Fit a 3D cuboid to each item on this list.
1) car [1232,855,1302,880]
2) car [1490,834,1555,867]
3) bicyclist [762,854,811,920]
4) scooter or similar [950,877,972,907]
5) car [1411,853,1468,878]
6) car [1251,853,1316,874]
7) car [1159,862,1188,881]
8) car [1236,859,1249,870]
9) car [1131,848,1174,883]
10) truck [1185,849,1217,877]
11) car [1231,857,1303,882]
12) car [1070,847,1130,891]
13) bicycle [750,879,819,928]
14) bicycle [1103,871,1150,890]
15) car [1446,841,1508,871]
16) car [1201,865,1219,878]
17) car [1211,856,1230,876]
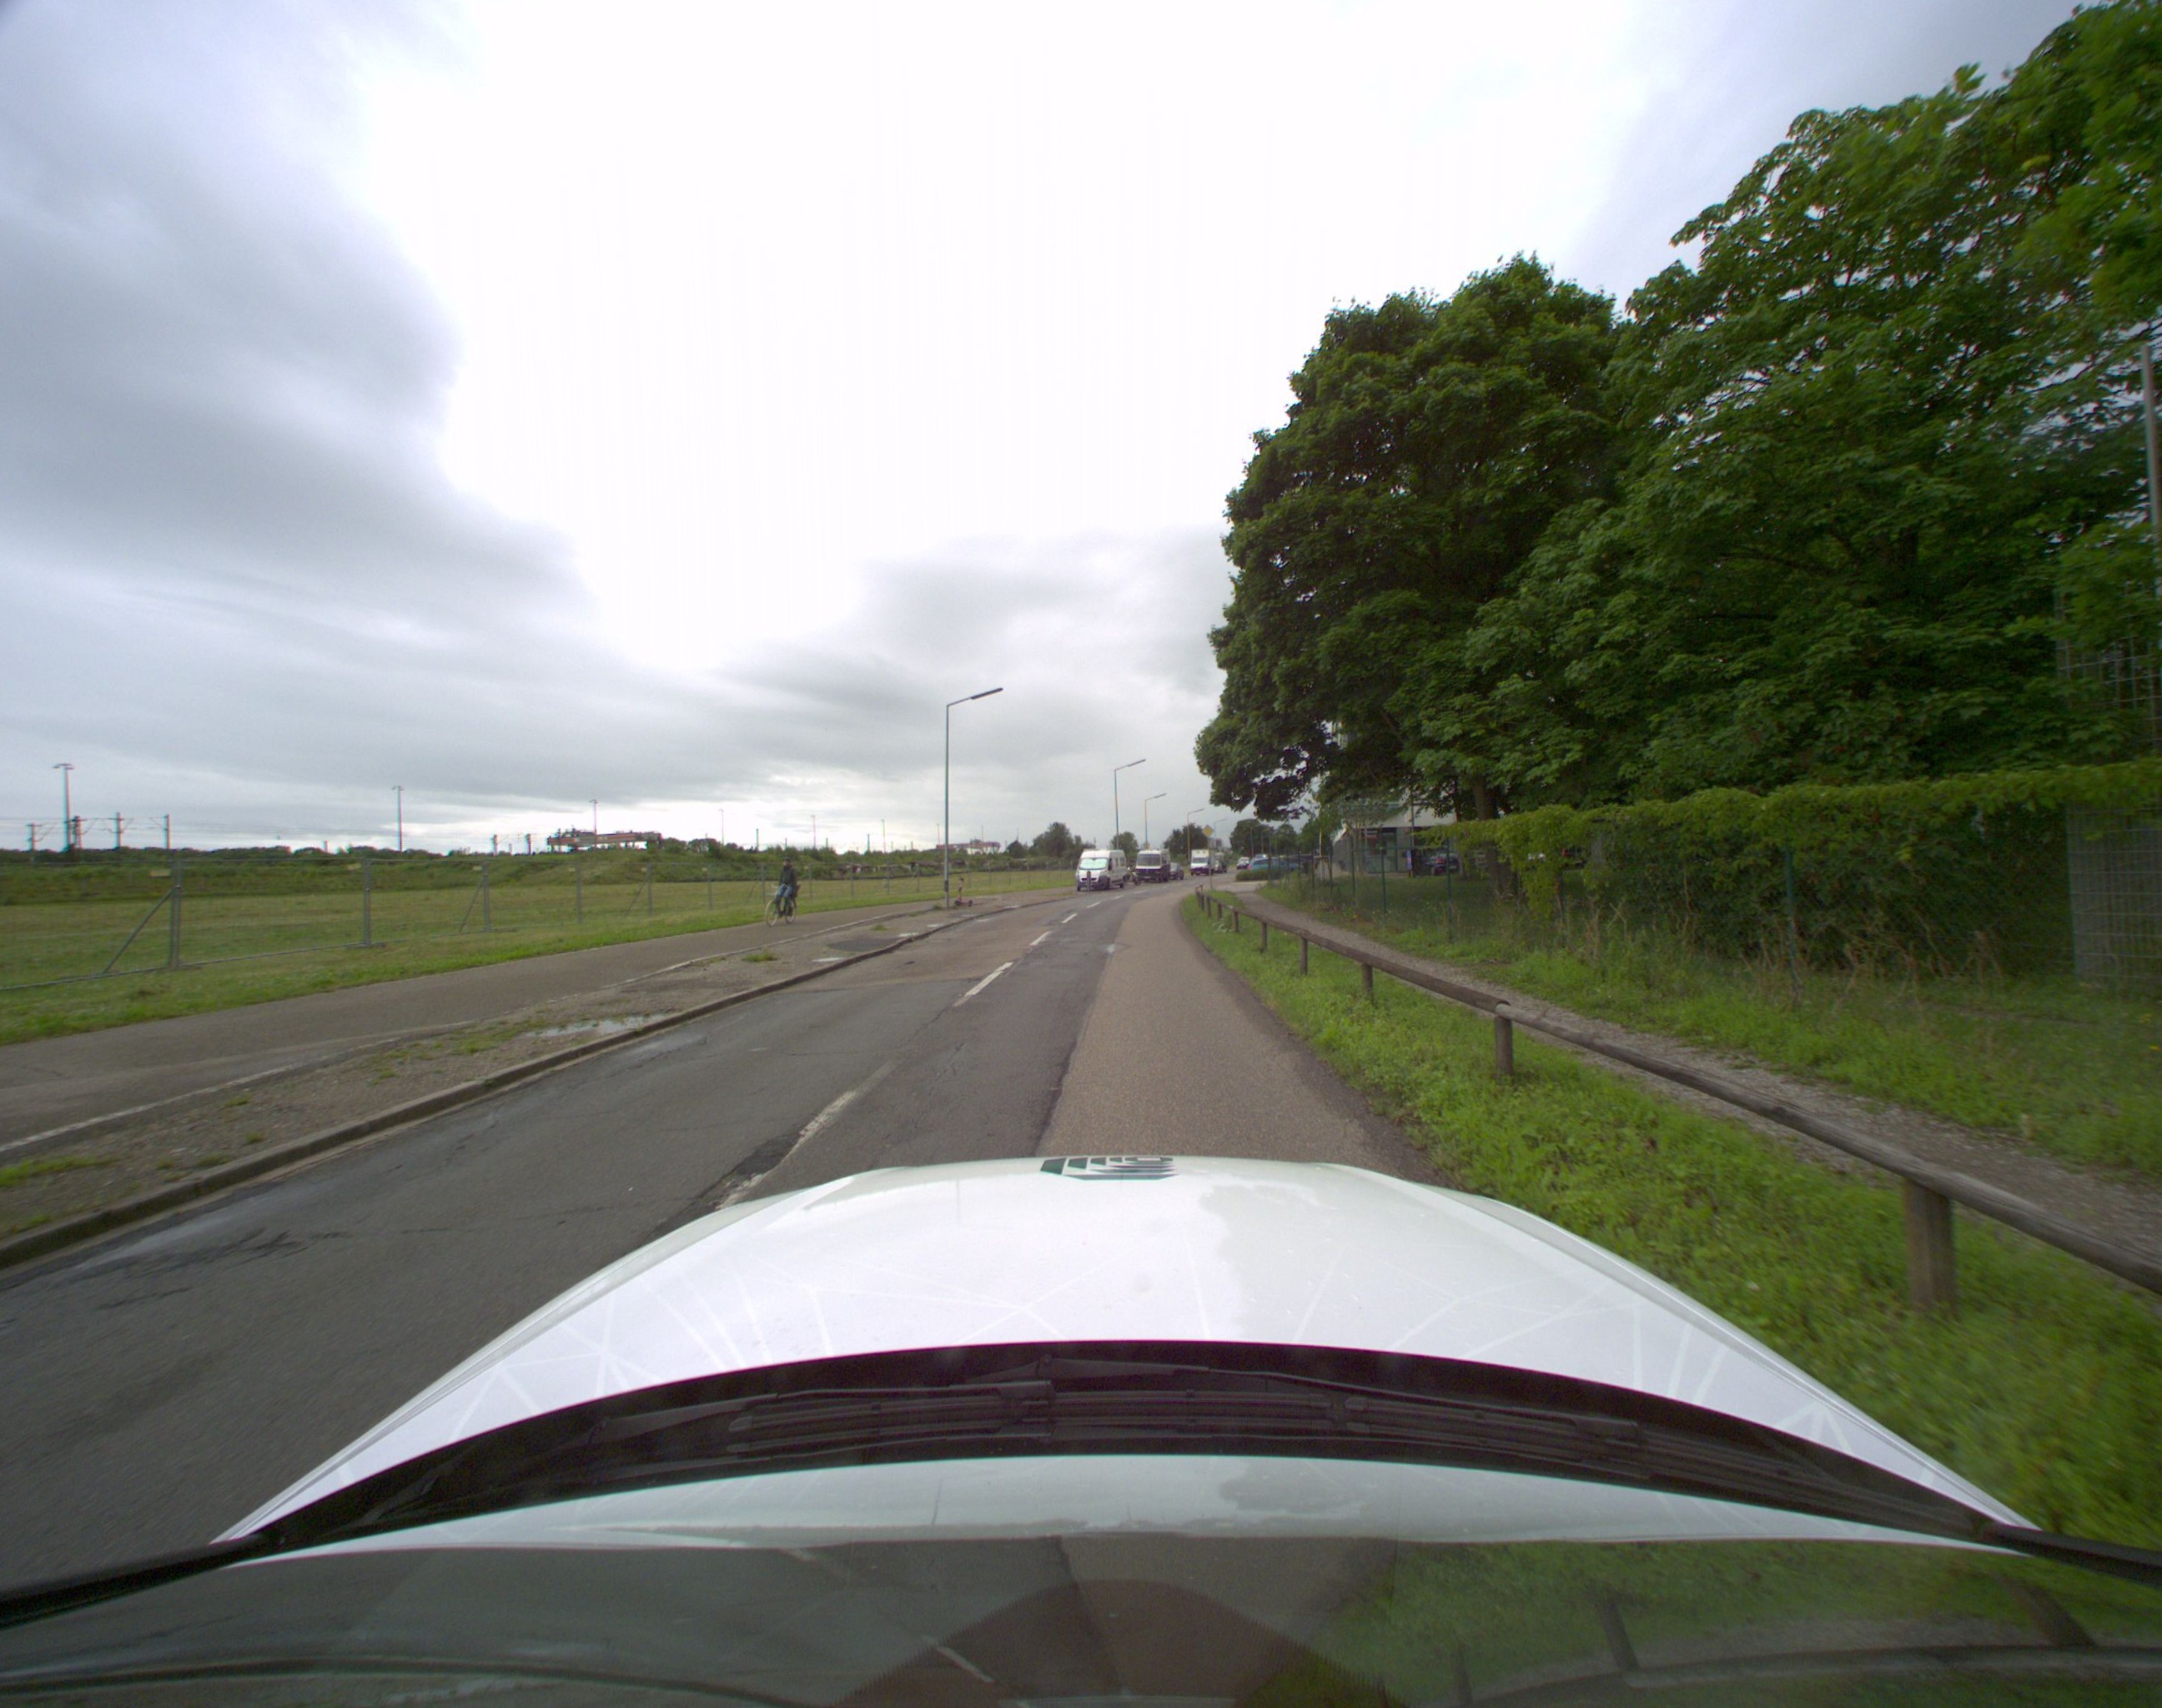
[{"bbox_3d":[13.630,1.013,59.677,4.824,1.663,1.850,-2,0,16],"label":"car"},{"bbox_3d":[26.461,-0.162,48.916,1.790,1.830,4.002,-2,-1,2],"label":"car"},{"bbox_3d":[-8.469,0.925,23.460,0.824,1.821,1.332,-2,0,4],"label":"bicyclist"},{"bbox_3d":[-4.958,1.553,33.736,0.606,1.183,1.703,0,-1,2],"label":"scooter or similar"},{"bbox_3d":[21.625,0.680,49.238,1.816,1.431,3.773,-2,-1,1],"label":"car"},{"bbox_3d":[15.991,0.774,64.251,4.824,1.500,1.850,-2,0,16],"label":"car"},{"bbox_3d":[8.440,1.563,73.864,1.765,1.505,4.018,-2,0,18],"label":"car"},{"bbox_3d":[27.169,1.787,136.853,1.635,1.663,3.593,-2,0,19],"label":"car"},{"bbox_3d":[5.981,0.881,67.232,2.283,2.734,6.118,-2,0,16],"label":"car"},{"bbox_3d":[13.925,0.990,93.716,2.443,3.060,8.197,-2,0,16],"label":"truck"},{"bbox_3d":[13.058,1.077,57.115,4.824,1.616,1.850,-2,0,16],"label":"car"},{"bbox_3d":[1.291,0.875,51.041,2.272,2.555,6.435,-2,0,14],"label":"car"},{"bbox_3d":[-8.457,1.388,23.380,0.815,1.204,2.560,-2,0,5],"label":"bicycle"},{"bbox_3d":[3.287,1.914,58.889,3.097,1.199,1.370,-2,0,15],"label":"bicycle"},{"bbox_3d":[23.856,0.152,49.235,1.847,1.699,3.957,-2,-1,1],"label":"car"},{"bbox_3d":[16.364,2.238,103.199,1.741,1.525,4.017,-2,0,16],"label":"car"},{"bbox_3d":[18.977,1.634,110.497,1.989,2.574,4.806,-2,0,16],"label":"car"}]
